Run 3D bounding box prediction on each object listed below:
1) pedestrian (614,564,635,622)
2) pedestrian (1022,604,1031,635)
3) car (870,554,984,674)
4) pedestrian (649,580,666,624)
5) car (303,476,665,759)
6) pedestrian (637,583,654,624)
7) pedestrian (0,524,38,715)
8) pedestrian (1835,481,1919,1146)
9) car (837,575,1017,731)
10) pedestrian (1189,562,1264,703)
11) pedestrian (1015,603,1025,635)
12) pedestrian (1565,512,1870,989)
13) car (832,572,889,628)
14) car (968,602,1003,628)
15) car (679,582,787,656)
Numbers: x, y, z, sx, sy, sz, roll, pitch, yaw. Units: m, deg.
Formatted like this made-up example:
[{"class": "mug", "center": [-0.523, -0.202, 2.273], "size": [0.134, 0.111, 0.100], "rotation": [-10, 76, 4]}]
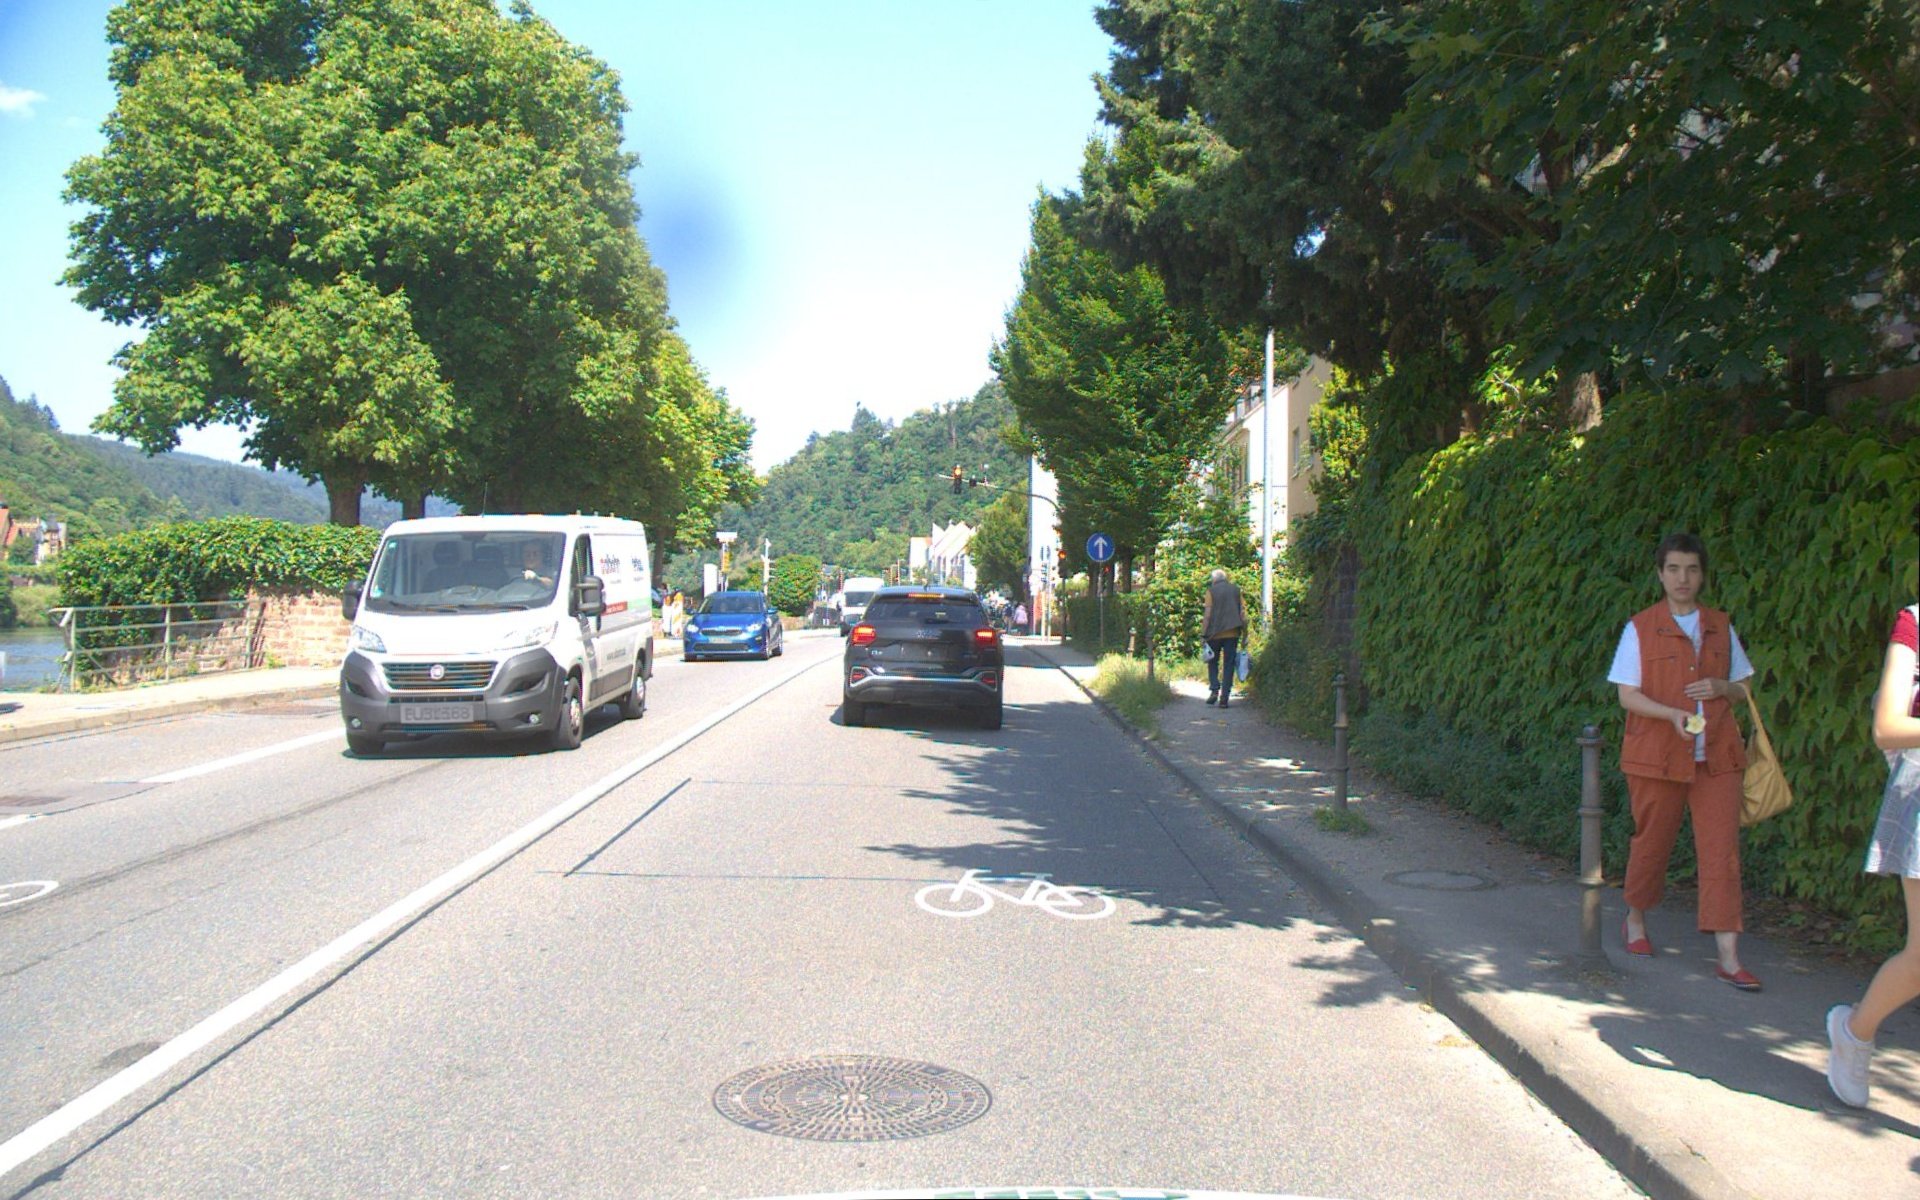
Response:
[{"class": "pedestrian", "center": [-12.070, -0.238, 59.476], "size": [0.627, 2.049, 0.730], "rotation": [0, -2, -1]}, {"class": "pedestrian", "center": [3.408, 1.001, 84.792], "size": [0.405, 1.586, 0.395], "rotation": [0, -2, -1]}, {"class": "car", "center": [-0.579, 0.242, 30.296], "size": [1.953, 2.049, 3.999], "rotation": [0, 0, 0]}, {"class": "pedestrian", "center": [-11.936, 0.088, 65.342], "size": [0.546, 1.698, 0.540], "rotation": [0, -2, 3]}, {"class": "car", "center": [-4.470, 0.096, 16.652], "size": [2.054, 2.342, 5.867], "rotation": [0, 1, -1]}, {"class": "pedestrian", "center": [-12.272, 0.127, 64.612], "size": [0.546, 1.586, 0.540], "rotation": [0, -2, 3]}, {"class": "pedestrian", "center": [-10.159, 0.205, 17.042], "size": [0.738, 1.951, 1.009], "rotation": [0, -2, -1]}, {"class": "pedestrian", "center": [2.578, 0.524, 4.151], "size": [0.446, 1.634, 0.579], "rotation": [0, 0, -1]}, {"class": "car", "center": [-0.360, 0.537, 19.264], "size": [1.819, 1.550, 4.000], "rotation": [2, 0, 0]}, {"class": "pedestrian", "center": [3.307, 0.393, 20.602], "size": [0.713, 1.678, 0.882], "rotation": [-2, 0, -1]}, {"class": "pedestrian", "center": [3.018, 0.975, 83.719], "size": [0.479, 1.586, 0.461], "rotation": [0, -2, -1]}, {"class": "pedestrian", "center": [2.816, 0.518, 6.238], "size": [0.720, 1.662, 0.920], "rotation": [0, 1, -1]}, {"class": "car", "center": [-4.691, 0.028, 78.959], "size": [2.444, 2.510, 5.618], "rotation": [0, -2, -1]}, {"class": "car", "center": [1.453, 0.881, 95.579], "size": [1.953, 1.478, 4.007], "rotation": [0, -2, -1]}, {"class": "car", "center": [-4.865, 0.426, 35.894], "size": [1.860, 1.515, 3.794], "rotation": [0, -1, -1]}]
